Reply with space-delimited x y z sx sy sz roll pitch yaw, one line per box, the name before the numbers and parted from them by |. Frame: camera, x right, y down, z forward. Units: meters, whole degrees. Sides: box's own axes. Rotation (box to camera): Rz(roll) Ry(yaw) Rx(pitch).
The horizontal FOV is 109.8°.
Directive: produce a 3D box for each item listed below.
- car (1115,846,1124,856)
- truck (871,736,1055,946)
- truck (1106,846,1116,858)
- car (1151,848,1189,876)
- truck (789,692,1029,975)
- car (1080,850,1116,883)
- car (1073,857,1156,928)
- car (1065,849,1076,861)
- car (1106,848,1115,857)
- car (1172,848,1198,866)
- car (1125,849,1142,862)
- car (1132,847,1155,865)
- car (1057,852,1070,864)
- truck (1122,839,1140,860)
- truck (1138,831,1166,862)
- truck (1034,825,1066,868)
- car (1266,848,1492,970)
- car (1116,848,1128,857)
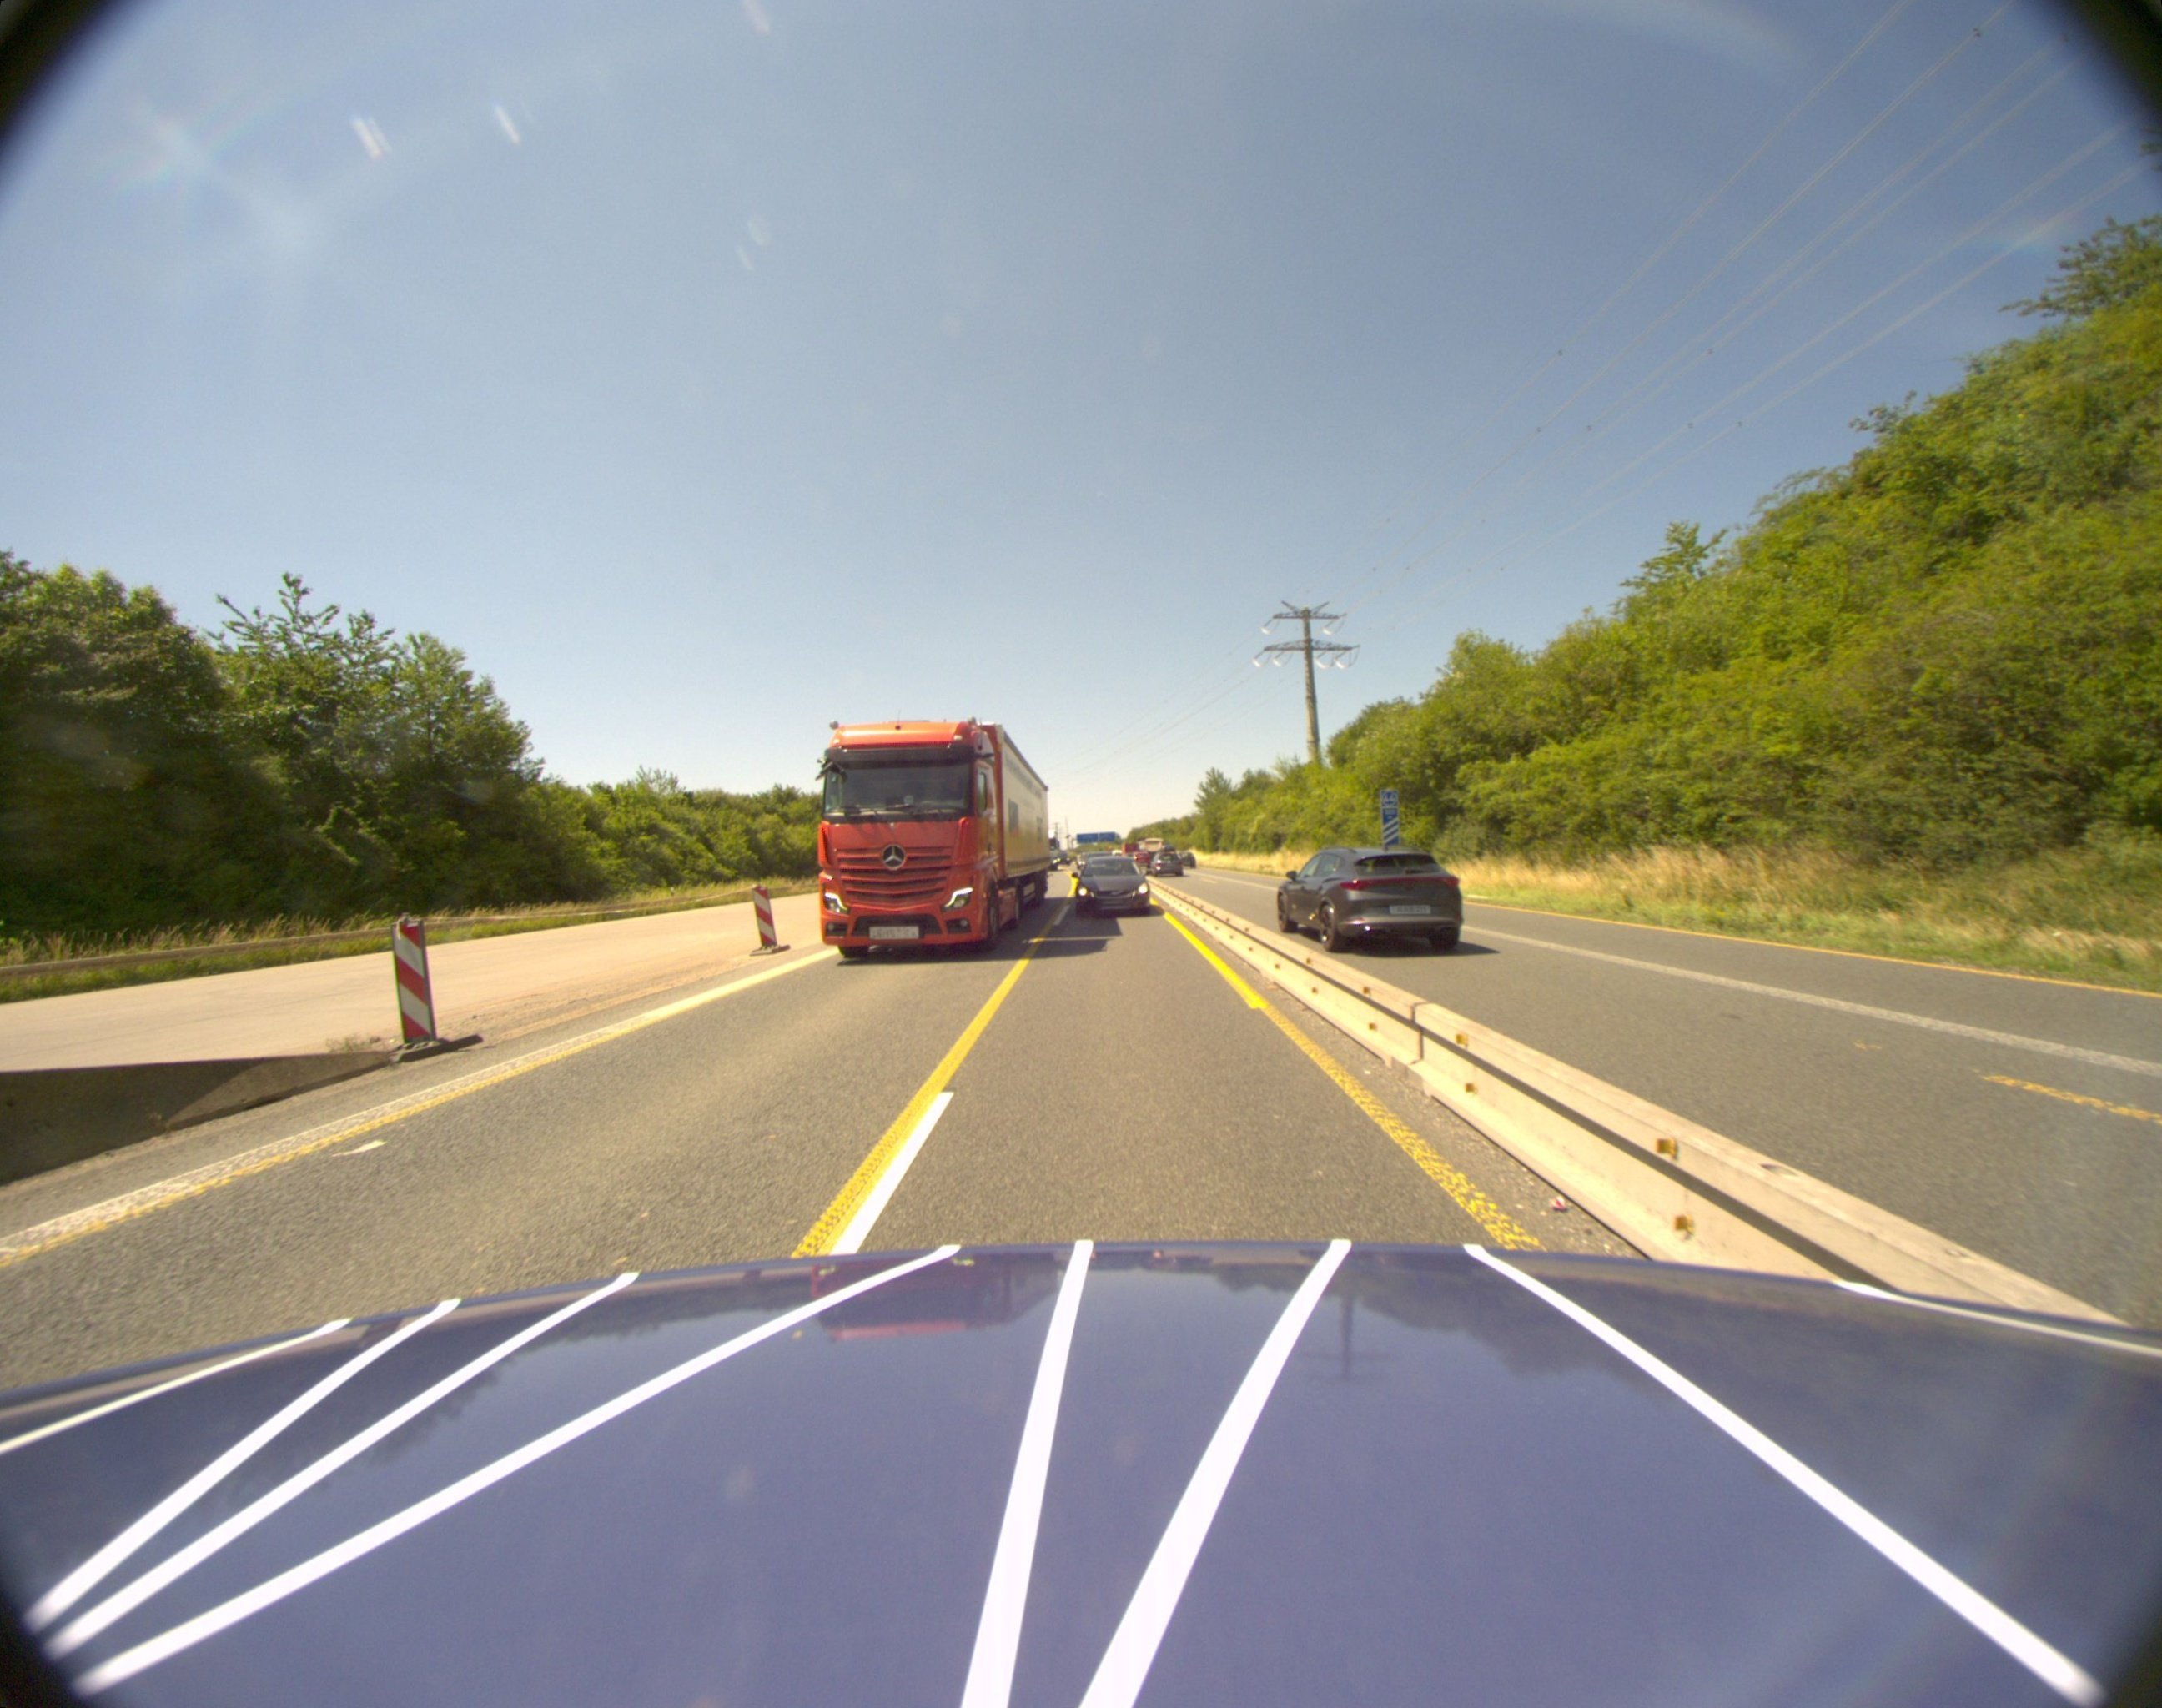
car | 8.655 -0.732 169.947 1.855 2.044 4.348 -2 1 1
truck | -2.523 -0.337 21.430 2.689 3.987 13.217 -2 1 1
truck | 9.255 -0.701 234.783 2.810 3.317 11.378 -4 0 1
car | 5.370 0.462 46.450 1.904 1.507 4.276 -2 1 2
truck | -2.713 -0.282 14.332 2.689 3.986 6.726 -2 0 1
car | 0.922 0.630 41.028 1.767 1.523 4.699 -2 1 2
car | 0.808 0.856 19.029 1.767 1.411 4.699 -2 1 2
car | -1.819 0.122 133.038 1.855 2.044 4.348 -2 1 1
car | 6.708 -0.373 171.158 1.855 2.044 4.348 -2 1 1
car | 8.927 0.237 65.457 1.685 1.413 3.642 -2 1 1
car | 6.407 0.145 93.072 1.855 1.413 4.348 -2 1 1
car | 5.876 0.183 71.472 1.904 1.580 4.276 -2 1 2
car | -2.509 0.581 111.514 1.767 1.523 4.698 -2 1 -1
truck | 9.648 -0.917 146.926 2.810 3.754 11.378 -4 0 1
truck | 9.588 -0.997 103.541 2.942 3.754 11.379 -4 0 2
truck | -3.094 -0.720 79.221 2.481 4.030 13.109 -2 0 1
car | 4.366 0.695 11.936 1.904 1.496 4.276 -2 1 1
car | 7.052 -0.218 130.446 1.855 1.413 4.348 -2 1 1
